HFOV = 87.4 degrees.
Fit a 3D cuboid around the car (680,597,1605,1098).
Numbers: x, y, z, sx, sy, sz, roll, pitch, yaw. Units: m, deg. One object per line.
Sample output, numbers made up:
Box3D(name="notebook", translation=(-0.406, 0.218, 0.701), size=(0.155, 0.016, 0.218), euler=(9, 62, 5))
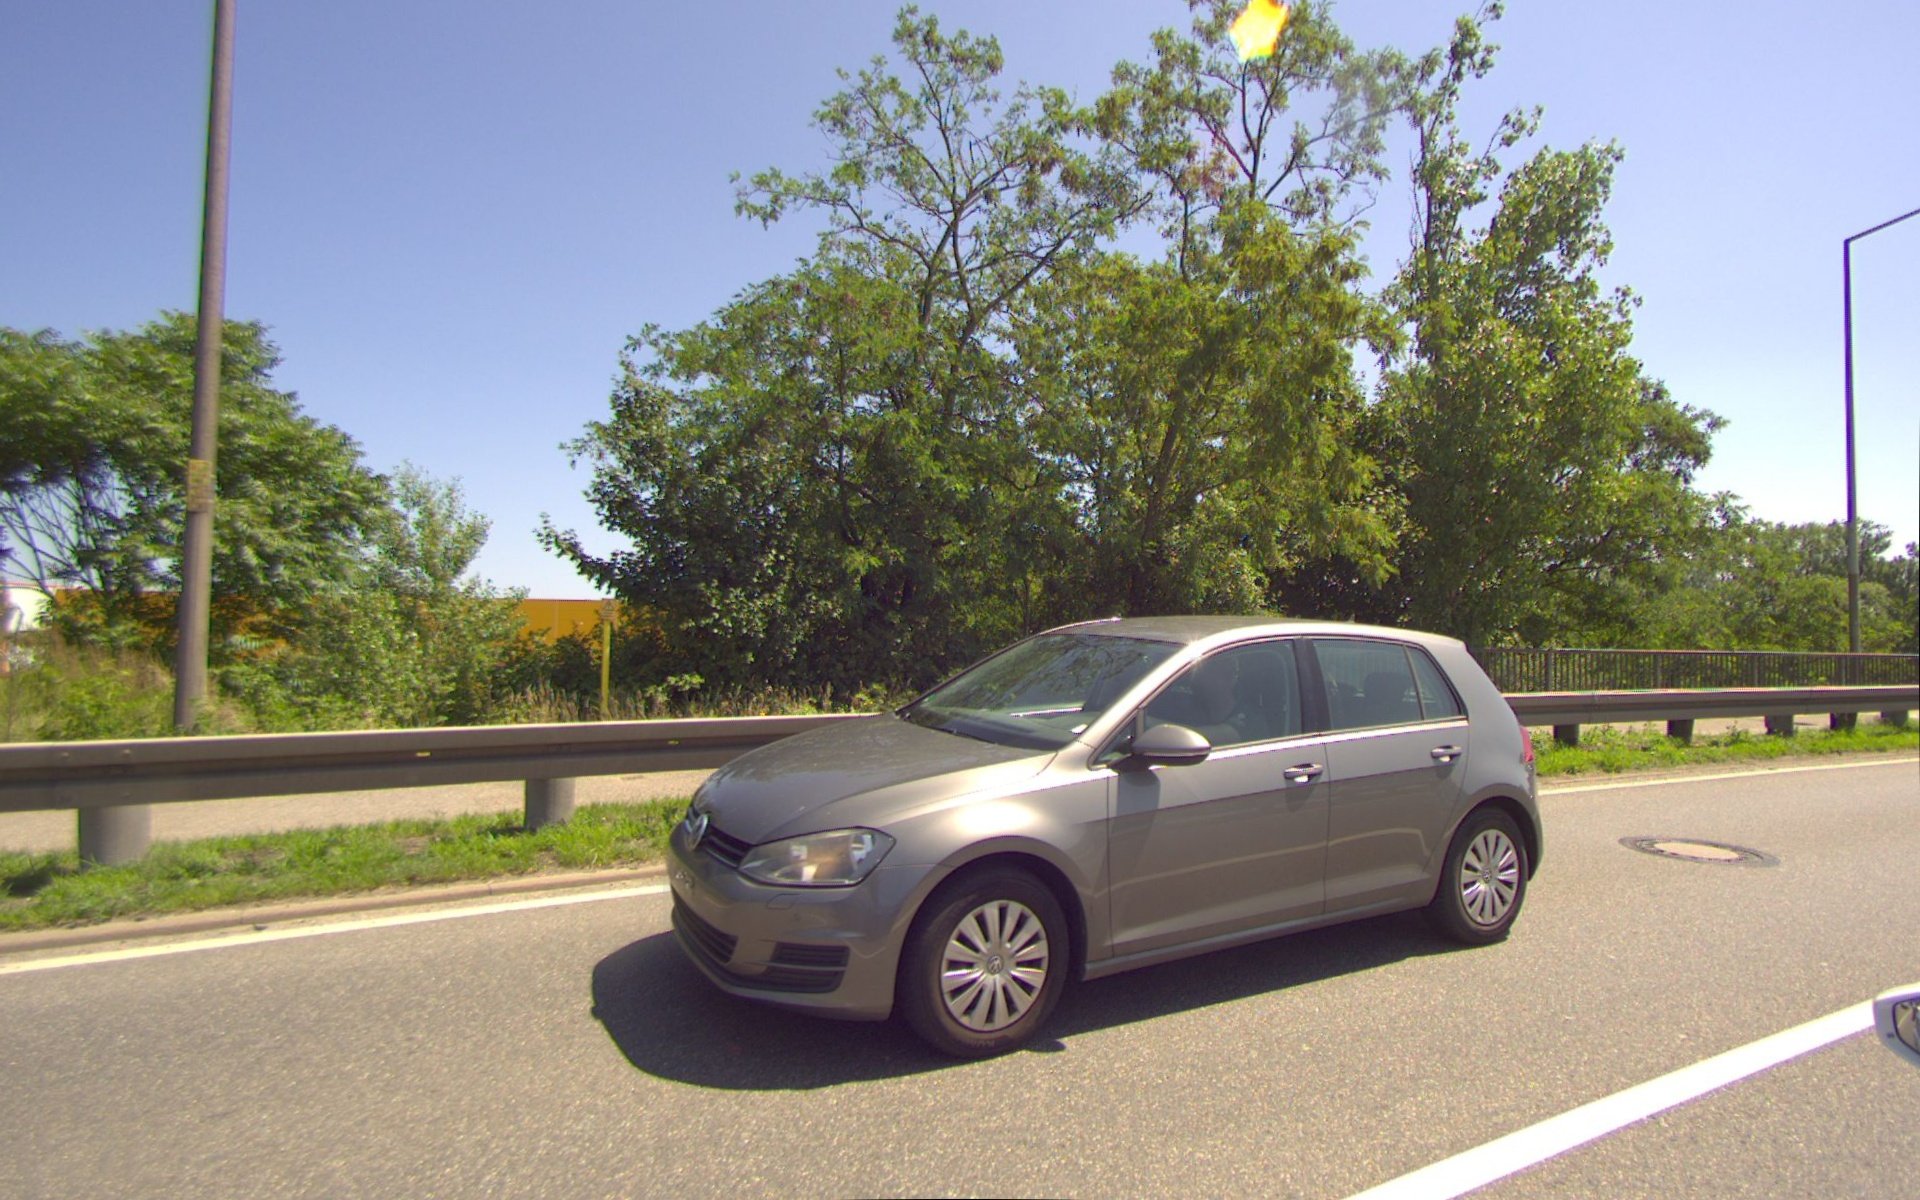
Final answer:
Box3D(name="car", translation=(0.956, 0.762, 4.648), size=(4.057, 1.446, 1.709), euler=(1, -1, -29))
